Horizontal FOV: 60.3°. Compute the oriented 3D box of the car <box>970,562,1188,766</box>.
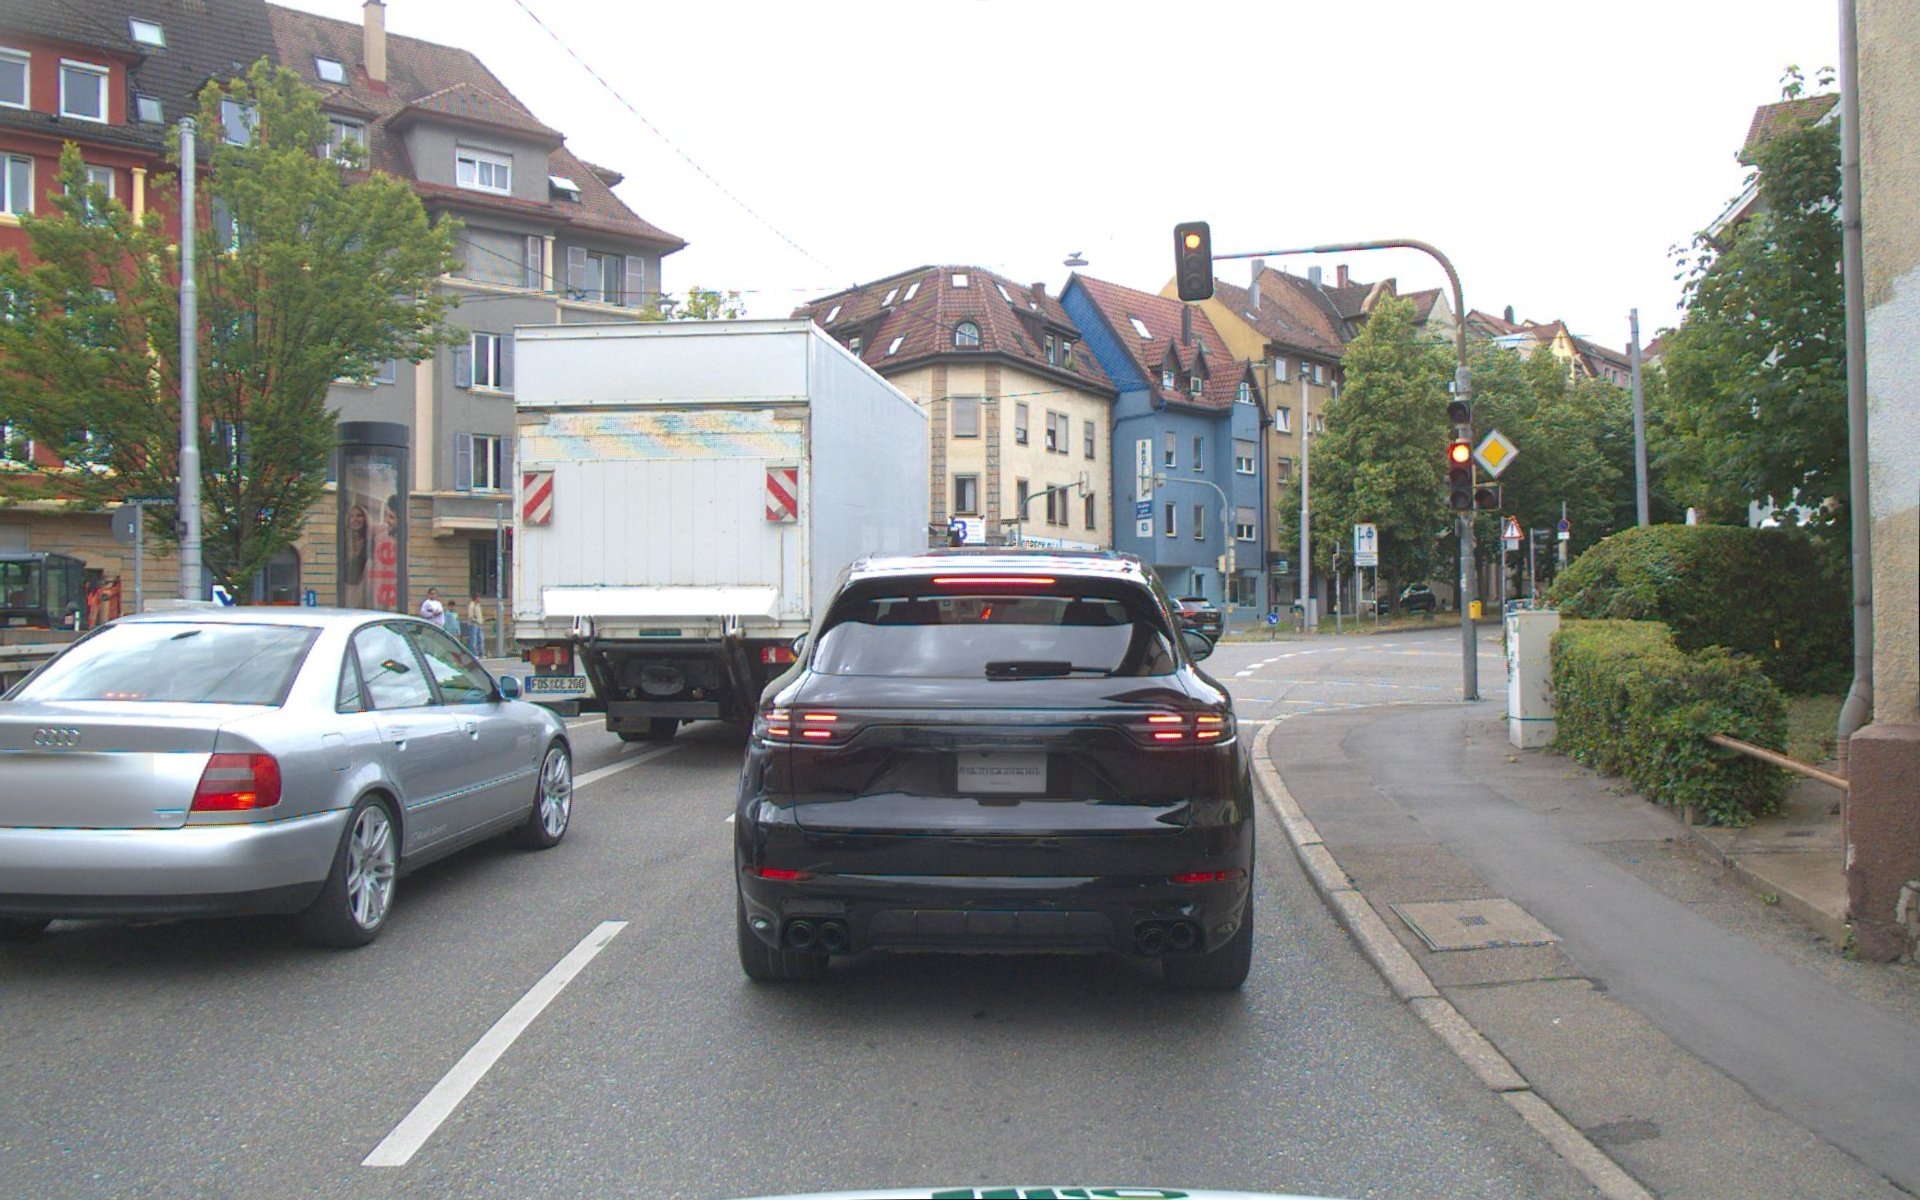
[{"bbox_3d":[1.166,0.515,14.779,1.613,1.583,3.586,0,-1,9],"label":"car"}]

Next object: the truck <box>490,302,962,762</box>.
[{"bbox_3d":[-1.874,-0.542,17.302,2.667,3.606,8.428,-1,0,8],"label":"truck"}]

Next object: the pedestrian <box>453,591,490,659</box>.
[{"bbox_3d":[-11.050,0.555,37.430,0.648,1.513,0.515,-1,0,-43],"label":"pedestrian"}]

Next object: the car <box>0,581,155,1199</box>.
[{"bbox_3d":[-2.709,0.716,1.170,1.953,1.454,4.841,-1,0,-1],"label":"car"}]

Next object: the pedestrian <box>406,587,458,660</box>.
[{"bbox_3d":[-11.525,0.514,36.092,0.777,1.573,0.738,-1,0,26],"label":"pedestrian"}]

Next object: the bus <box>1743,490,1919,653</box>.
[{"bbox_3d":[21.291,-0.614,30.861,3.134,3.150,11.987,-1,-1,-37],"label":"bus"}]

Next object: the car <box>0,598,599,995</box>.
[{"bbox_3d":[-3.108,0.704,7.981,1.594,1.389,4.130,-1,0,3],"label":"car"}]

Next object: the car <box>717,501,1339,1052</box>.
[{"bbox_3d":[0.194,0.574,7.603,1.990,1.753,4.499,1,0,-1],"label":"car"}]

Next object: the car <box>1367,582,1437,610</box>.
[{"bbox_3d":[23.724,-0.214,88.585,1.841,1.441,4.673,1,0,40],"label":"car"}]

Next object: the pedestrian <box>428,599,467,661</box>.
[{"bbox_3d":[-11.404,0.655,36.812,0.564,1.361,0.582,-1,0,34],"label":"pedestrian"}]

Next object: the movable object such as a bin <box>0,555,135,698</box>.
[{"bbox_3d":[-13.948,0.380,25.472,1.351,2.049,3.525,-1,0,-12],"label":"movable object such as a bin"}]

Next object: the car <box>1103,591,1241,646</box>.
[{"bbox_3d":[6.474,0.554,50.795,1.979,1.556,3.946,1,1,-38],"label":"car"}]
